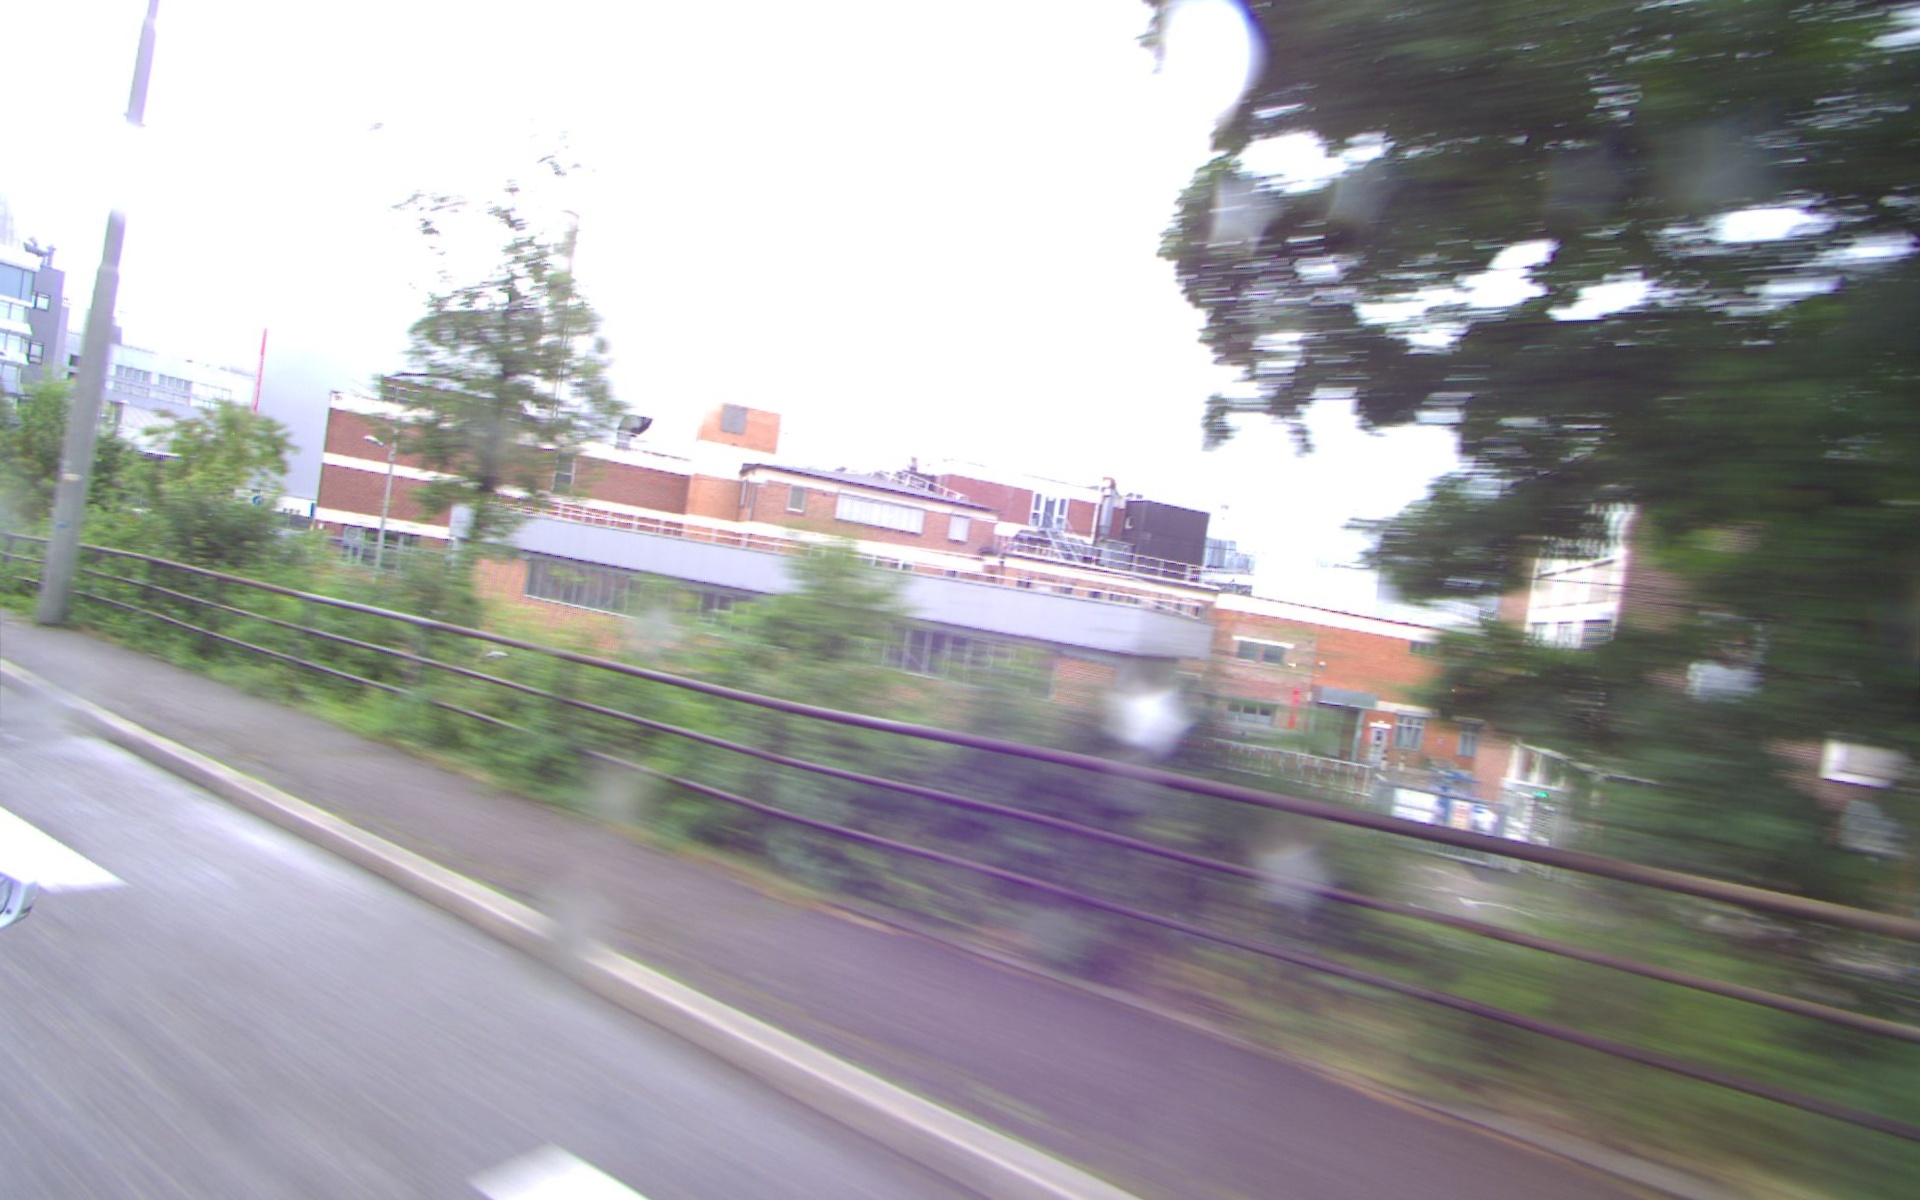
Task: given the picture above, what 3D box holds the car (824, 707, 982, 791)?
[{"bbox_3d":[-1.532,3.983,27.301,3.786,1.504,1.704,8,-1,21],"label":"car"}]
